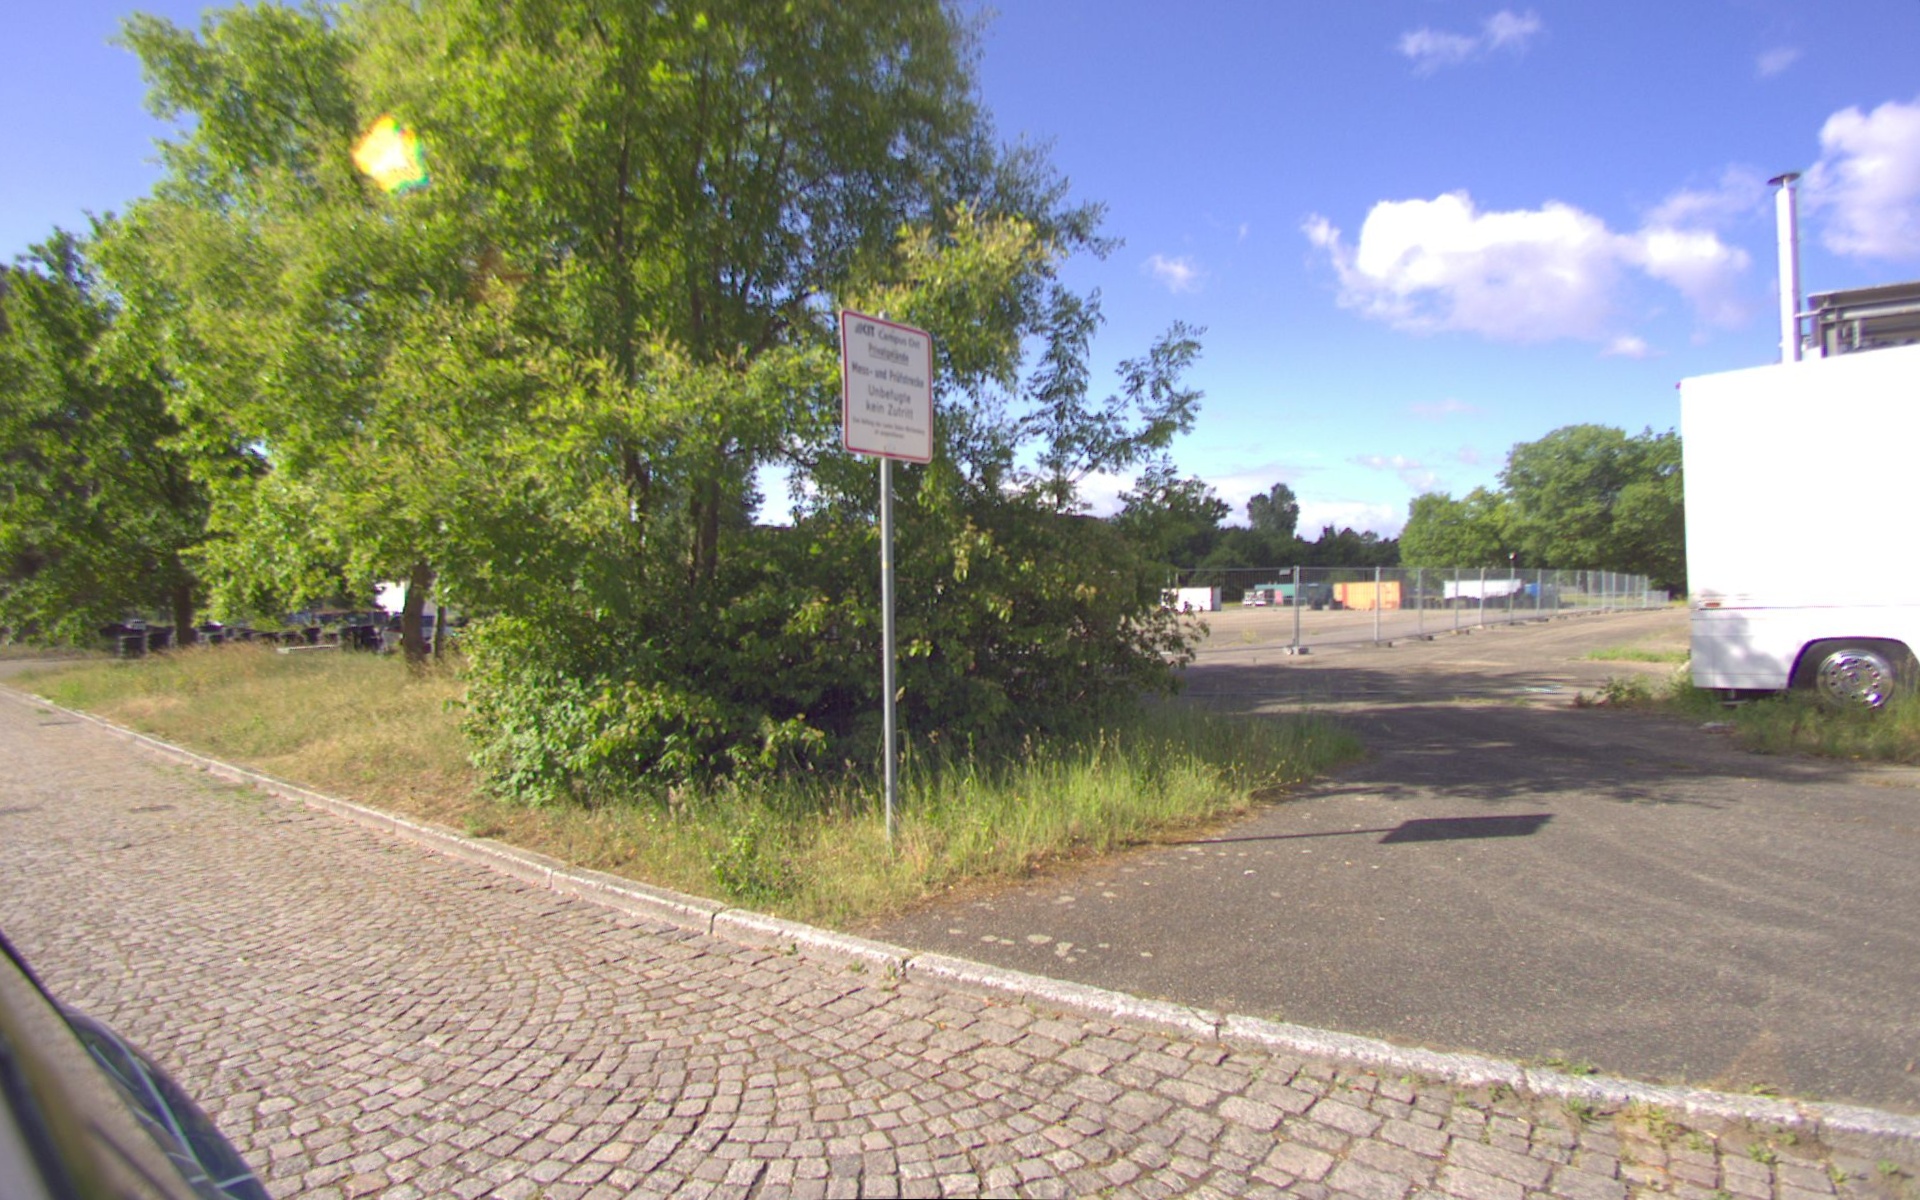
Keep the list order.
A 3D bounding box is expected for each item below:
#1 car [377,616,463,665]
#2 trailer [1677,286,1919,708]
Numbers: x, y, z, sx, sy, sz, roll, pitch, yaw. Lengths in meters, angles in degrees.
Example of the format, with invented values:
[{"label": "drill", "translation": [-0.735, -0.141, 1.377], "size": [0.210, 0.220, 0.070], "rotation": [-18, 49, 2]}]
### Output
[{"label": "car", "translation": [-17.143, 1.266, 32.055], "size": [1.522, 1.417, 3.581], "rotation": [-1, -1, -43]}, {"label": "trailer", "translation": [12.527, -1.053, 7.968], "size": [10.887, 3.940, 2.741], "rotation": [-2, -1, 44]}]
